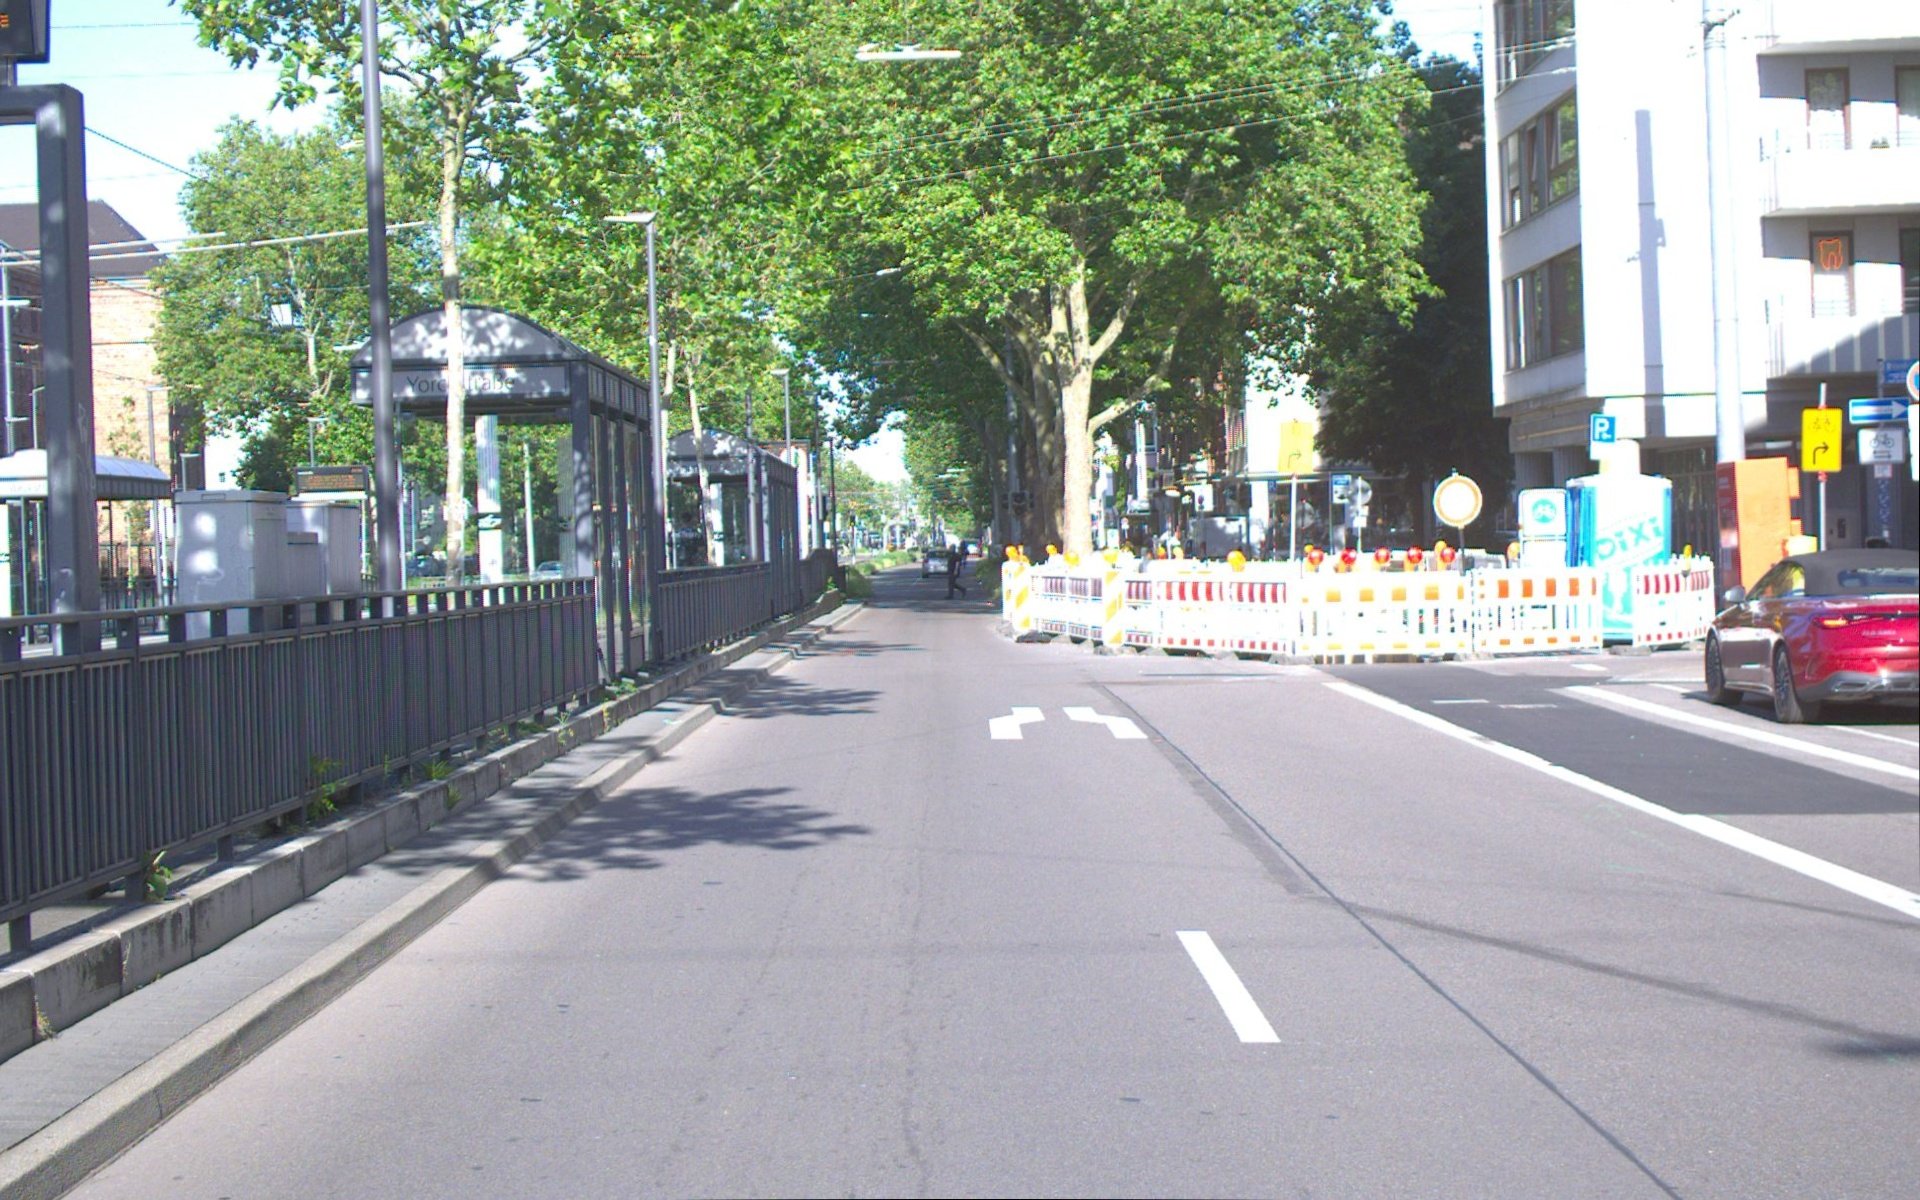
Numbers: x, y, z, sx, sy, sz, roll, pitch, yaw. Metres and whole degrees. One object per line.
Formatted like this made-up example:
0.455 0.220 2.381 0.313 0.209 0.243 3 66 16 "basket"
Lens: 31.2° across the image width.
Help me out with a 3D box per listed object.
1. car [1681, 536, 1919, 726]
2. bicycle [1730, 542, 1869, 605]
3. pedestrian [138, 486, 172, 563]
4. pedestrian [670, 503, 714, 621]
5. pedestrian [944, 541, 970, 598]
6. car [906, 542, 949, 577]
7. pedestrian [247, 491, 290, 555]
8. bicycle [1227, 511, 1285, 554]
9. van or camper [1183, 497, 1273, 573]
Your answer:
7.632 0.195 29.393 1.872 1.438 5.159 -1 1 1 "car"
13.224 -0.420 54.136 2.030 0.940 1.016 -1 1 19 "bicycle"
-21.228 -2.000 90.654 0.662 2.007 0.860 -2 1 -1 "pedestrian"
-4.607 -0.655 59.090 0.667 2.007 0.716 -1 1 -1 "pedestrian"
-0.080 -0.922 102.460 0.712 1.674 0.772 -1 1 -1 "pedestrian"
-1.550 -1.968 166.150 2.021 1.656 4.000 -1 1 0 "car"
-19.056 -2.114 94.757 0.953 1.730 0.730 -1 1 3 "pedestrian"
8.994 -2.056 104.415 1.603 1.259 0.963 -2 1 -4 "bicycle"
8.387 -2.031 108.206 2.291 2.279 5.823 -1 1 0 "van or camper"
